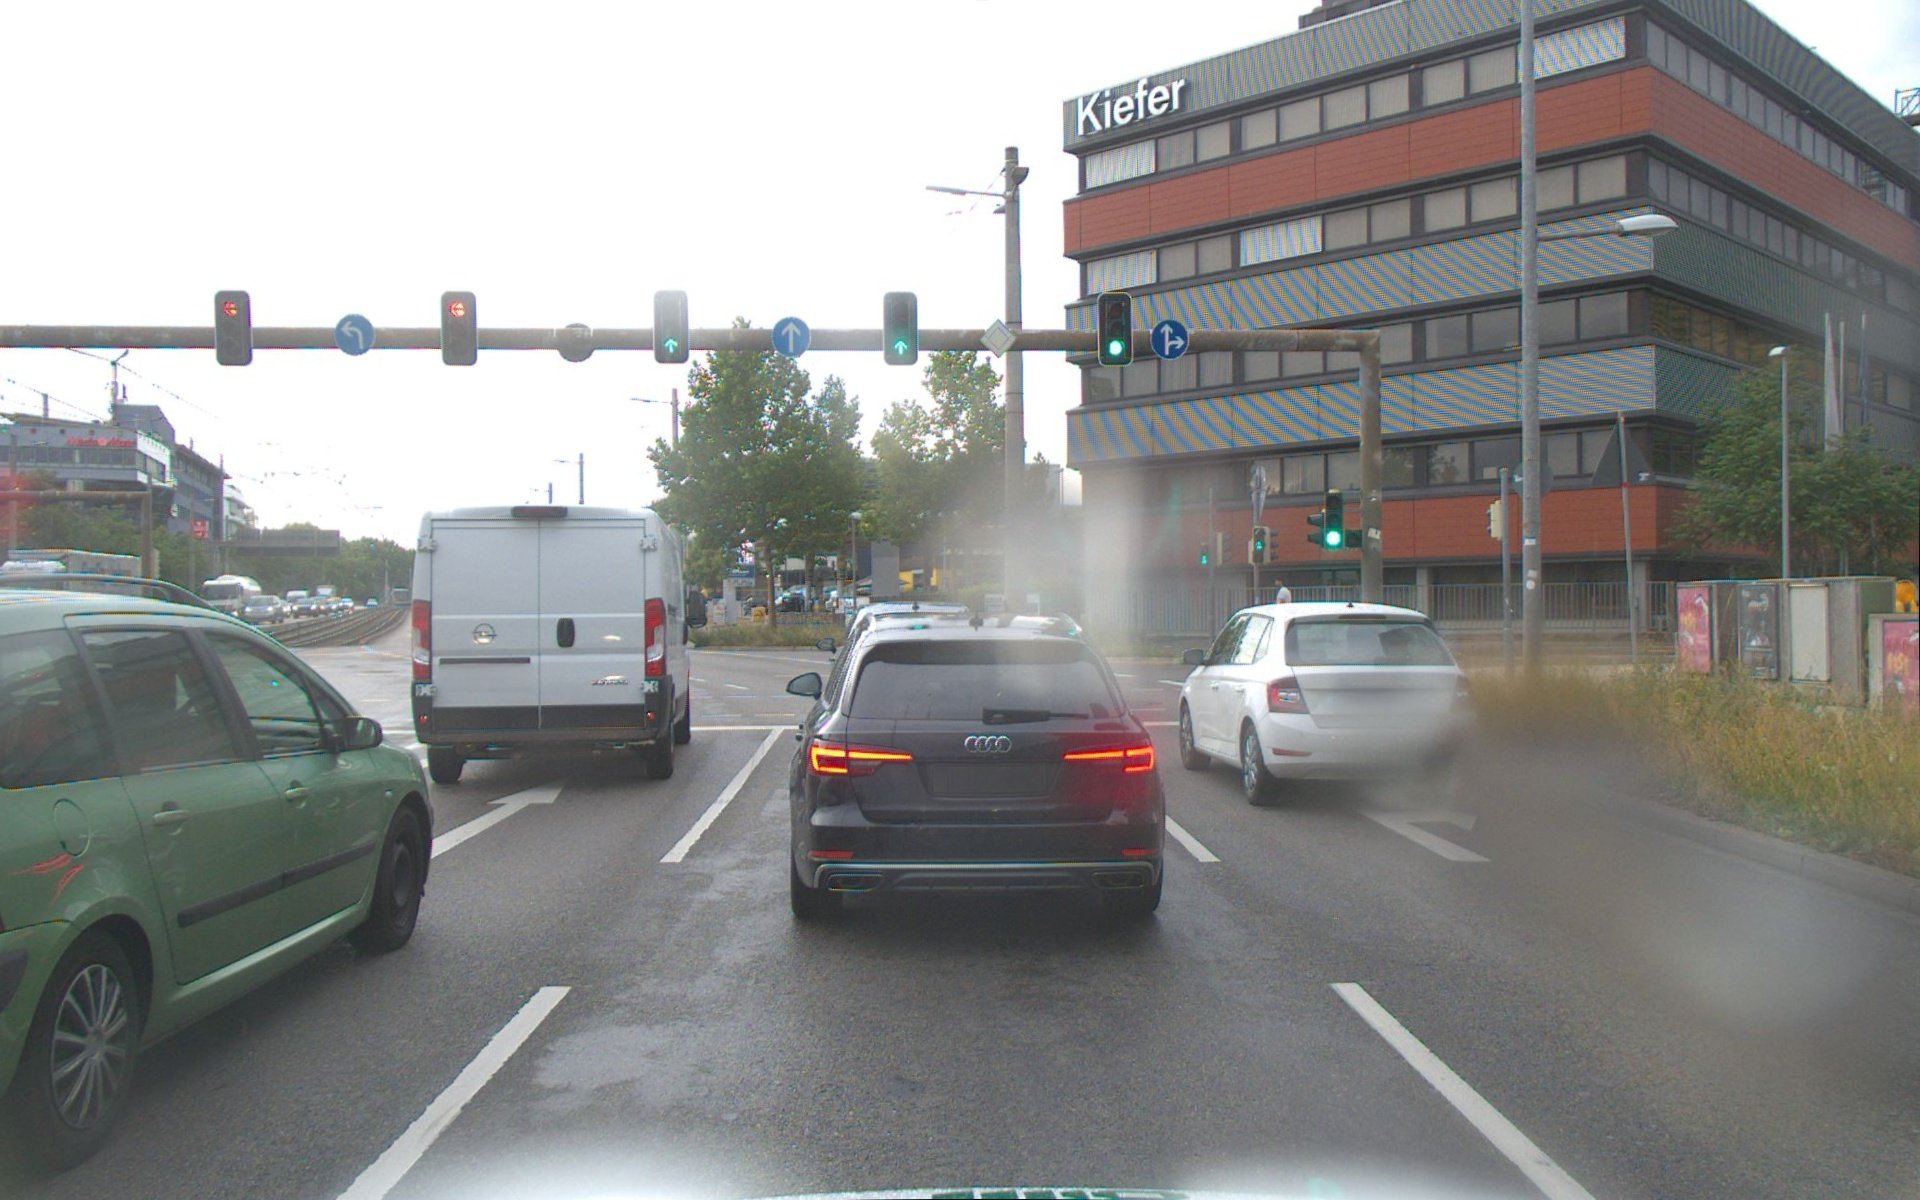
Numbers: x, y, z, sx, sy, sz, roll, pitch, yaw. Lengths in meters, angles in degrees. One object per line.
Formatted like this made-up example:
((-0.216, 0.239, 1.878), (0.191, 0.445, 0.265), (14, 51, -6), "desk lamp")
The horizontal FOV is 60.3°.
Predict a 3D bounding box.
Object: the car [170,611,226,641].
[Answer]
((-42.644, 1.454, 92.679), (1.870, 1.582, 4.550), (2, -1, -13), "car")

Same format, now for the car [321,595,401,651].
((-23.168, 0.871, 64.142), (1.738, 2.049, 4.344), (2, 0, -4), "car")

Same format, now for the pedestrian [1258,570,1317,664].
((7.787, 0.382, 39.391), (1.120, 2.162, 1.222), (-1, 1, -1), "pedestrian")

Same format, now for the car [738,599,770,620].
((-16.486, 0.790, 132.386), (1.764, 1.619, 3.978), (-1, 0, -19), "car")

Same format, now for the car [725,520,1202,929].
((-0.008, 0.556, 8.867), (1.953, 1.666, 3.999), (1, -1, -1), "car")

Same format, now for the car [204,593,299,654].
((-25.291, 0.796, 59.171), (1.738, 2.049, 4.344), (2, 0, -4), "car")

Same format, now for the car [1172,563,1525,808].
((2.948, 0.631, 13.427), (1.792, 1.685, 3.998), (0, -1, -2), "car")

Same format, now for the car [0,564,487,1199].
((-3.048, 0.675, 5.649), (1.660, 1.494, 4.401), (2, -1, -2), "car")

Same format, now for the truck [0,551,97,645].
((-42.738, -0.034, 77.397), (2.620, 4.202, 6.165), (-1, -1, -13), "truck")

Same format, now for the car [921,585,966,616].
((-1.182, 0.060, 113.638), (1.844, 2.049, 3.749), (2, -1, -22), "car")

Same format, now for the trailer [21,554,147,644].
((-44.386, 0.050, 84.267), (2.605, 4.197, 12.697), (-1, -1, -14), "trailer")

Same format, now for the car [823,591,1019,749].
((-0.353, 0.696, 17.644), (1.855, 1.491, 3.909), (0, -1, 0), "car")

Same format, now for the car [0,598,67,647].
((-34.280, 0.809, 60.315), (1.854, 1.681, 4.083), (2, -1, -12), "car")

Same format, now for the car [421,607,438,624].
((-66.227, 1.923, 206.409), (1.744, 2.049, 4.328), (2, -1, -16), "car")

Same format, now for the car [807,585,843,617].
((-8.977, 0.107, 110.191), (1.652, 2.049, 3.525), (2, -1, -17), "car")

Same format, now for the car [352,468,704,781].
((-3.675, 0.244, 15.140), (2.399, 2.334, 4.896), (2, -1, -7), "car")

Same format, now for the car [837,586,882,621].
((-6.172, 0.220, 101.375), (1.961, 2.068, 3.983), (-1, 0, -15), "car")

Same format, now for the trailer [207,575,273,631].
((-52.952, 0.295, 121.869), (2.679, 3.922, 11.183), (-2, -1, -15), "trailer")

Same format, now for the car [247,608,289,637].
((-47.726, 1.511, 114.144), (1.960, 1.869, 4.891), (1, 1, -14), "car")

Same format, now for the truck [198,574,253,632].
((-51.466, 0.238, 116.017), (2.701, 3.872, 5.388), (-2, -1, -16), "truck")
